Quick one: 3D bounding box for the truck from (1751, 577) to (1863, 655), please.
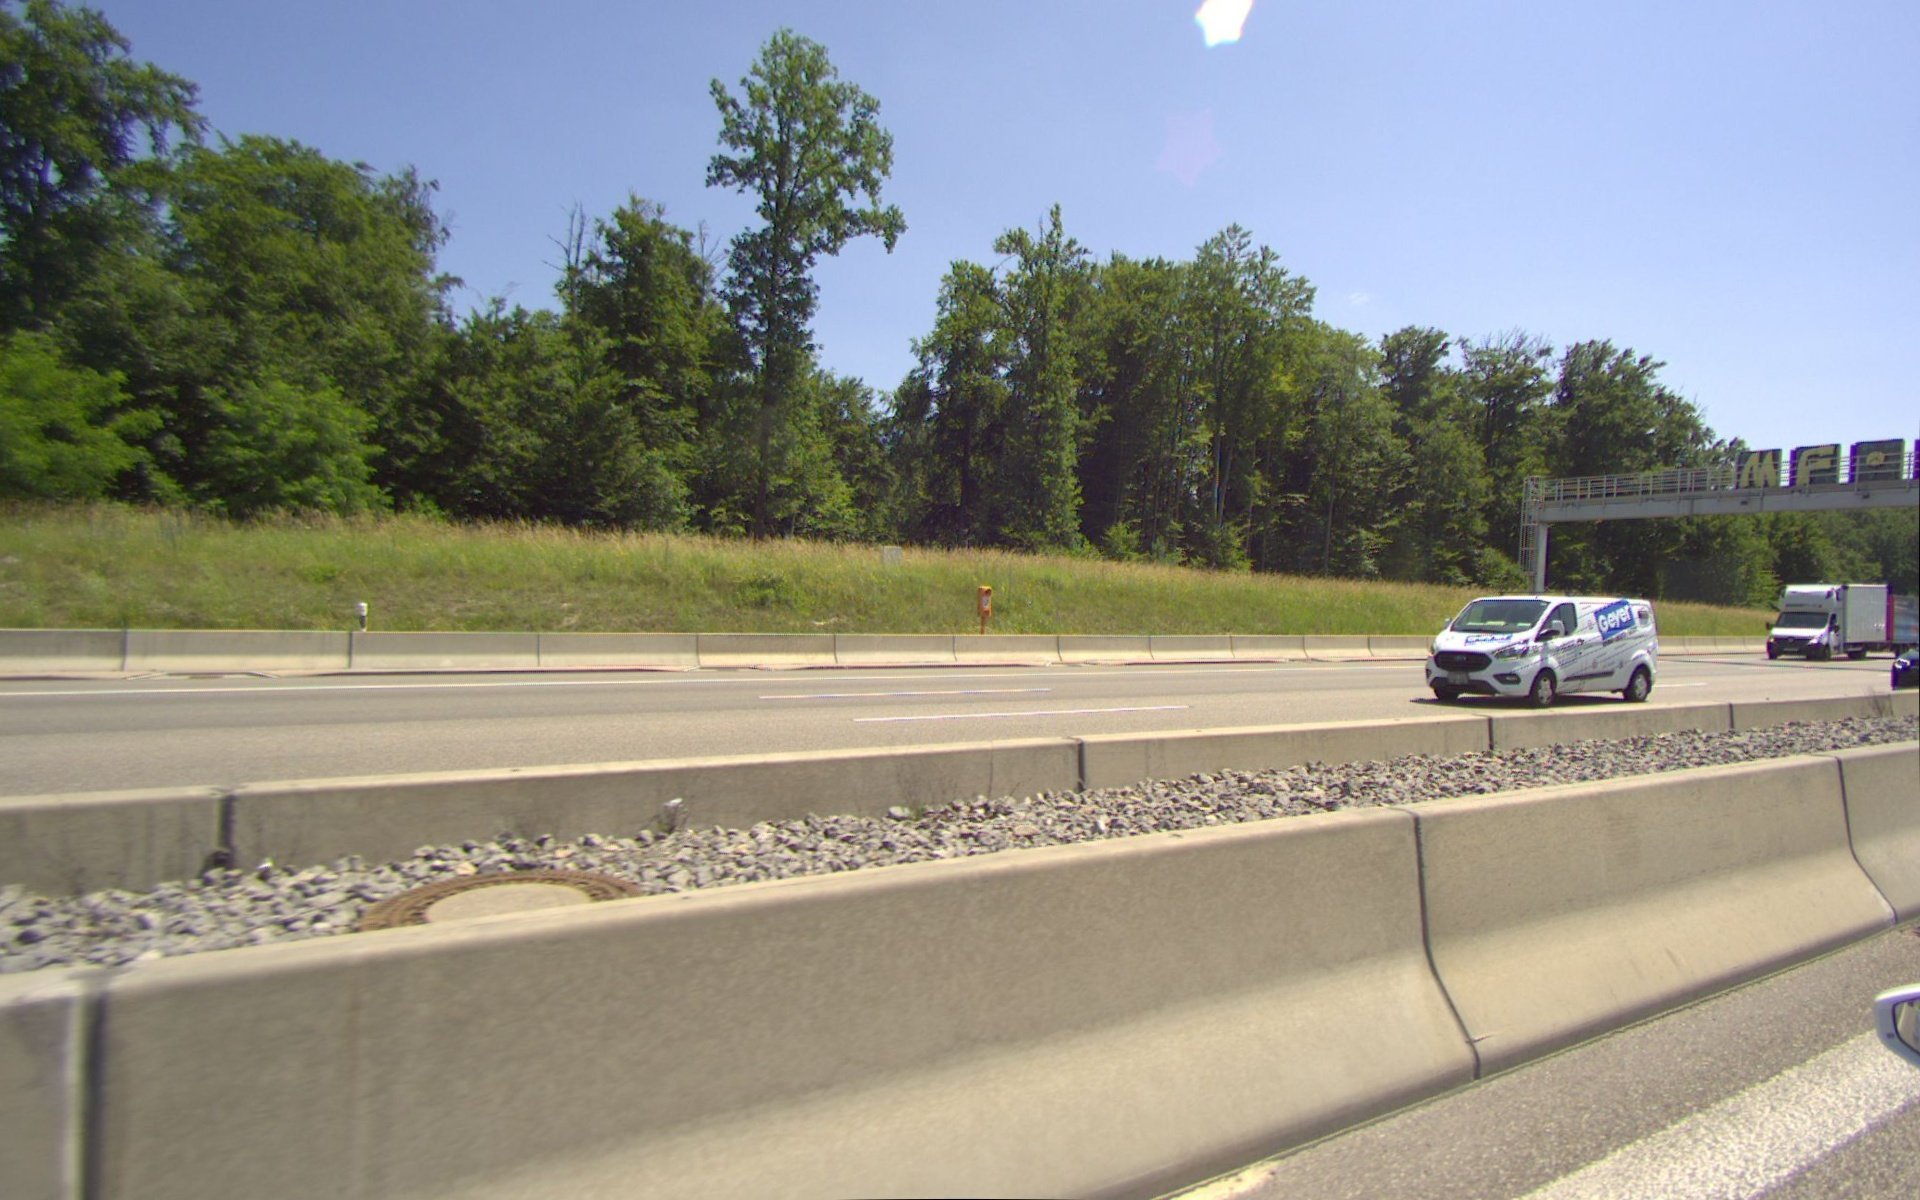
[{"bbox_3d":[36.955,0.696,43.803,4.354,3.209,2.474,2,0,-32],"label":"truck"}]

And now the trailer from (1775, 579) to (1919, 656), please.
[{"bbox_3d":[41.637,0.882,46.852,10.367,3.196,2.460,3,0,-33],"label":"trailer"}]

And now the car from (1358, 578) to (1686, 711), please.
[{"bbox_3d":[10.589,0.801,18.645,7.061,2.082,2.184,2,-1,-32],"label":"car"}]

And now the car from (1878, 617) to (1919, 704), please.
[{"bbox_3d":[21.206,1.305,20.812,4.858,1.684,1.818,3,0,-30],"label":"car"}]
